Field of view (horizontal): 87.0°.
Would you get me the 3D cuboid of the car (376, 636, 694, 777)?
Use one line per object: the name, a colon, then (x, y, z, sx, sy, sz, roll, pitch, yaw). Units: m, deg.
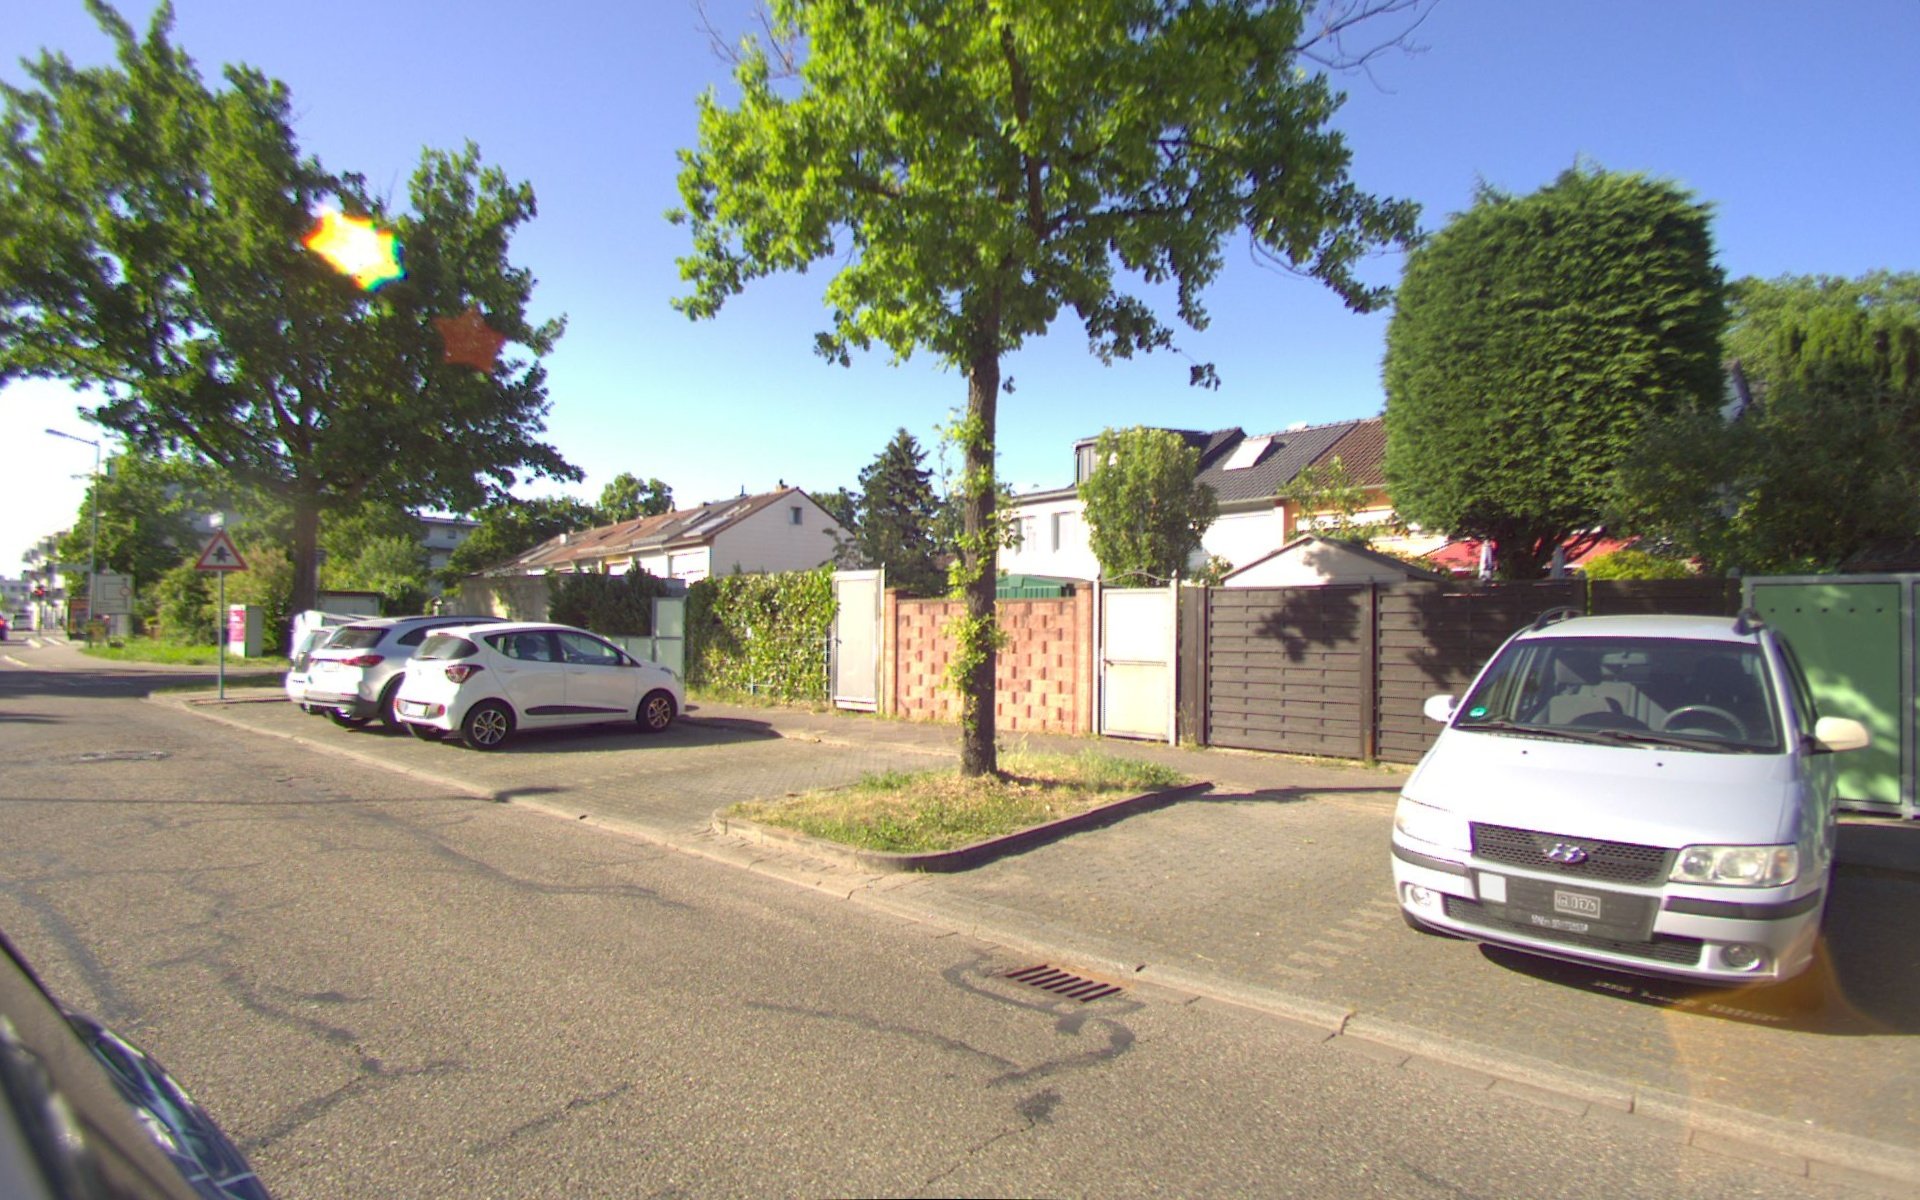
car: (-5.466, 1.268, 13.336, 1.706, 1.507, 3.480, 0, -1, 38)

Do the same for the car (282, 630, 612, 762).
car: (-7.392, 1.271, 14.933, 1.917, 1.586, 3.920, 0, -1, 34)

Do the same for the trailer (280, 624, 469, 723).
trailer: (-10.899, 1.308, 18.951, 1.297, 1.660, 2.734, 1, -1, 36)

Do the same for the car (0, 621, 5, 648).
car: (-55.671, 1.962, 57.566, 3.850, 1.489, 1.742, -2, -1, 43)

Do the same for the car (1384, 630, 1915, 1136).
car: (3.844, 1.010, 5.437, 1.705, 1.626, 3.897, -2, -2, 42)

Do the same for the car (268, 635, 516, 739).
car: (-9.406, 1.366, 16.903, 1.615, 1.489, 3.260, 0, -1, 41)
